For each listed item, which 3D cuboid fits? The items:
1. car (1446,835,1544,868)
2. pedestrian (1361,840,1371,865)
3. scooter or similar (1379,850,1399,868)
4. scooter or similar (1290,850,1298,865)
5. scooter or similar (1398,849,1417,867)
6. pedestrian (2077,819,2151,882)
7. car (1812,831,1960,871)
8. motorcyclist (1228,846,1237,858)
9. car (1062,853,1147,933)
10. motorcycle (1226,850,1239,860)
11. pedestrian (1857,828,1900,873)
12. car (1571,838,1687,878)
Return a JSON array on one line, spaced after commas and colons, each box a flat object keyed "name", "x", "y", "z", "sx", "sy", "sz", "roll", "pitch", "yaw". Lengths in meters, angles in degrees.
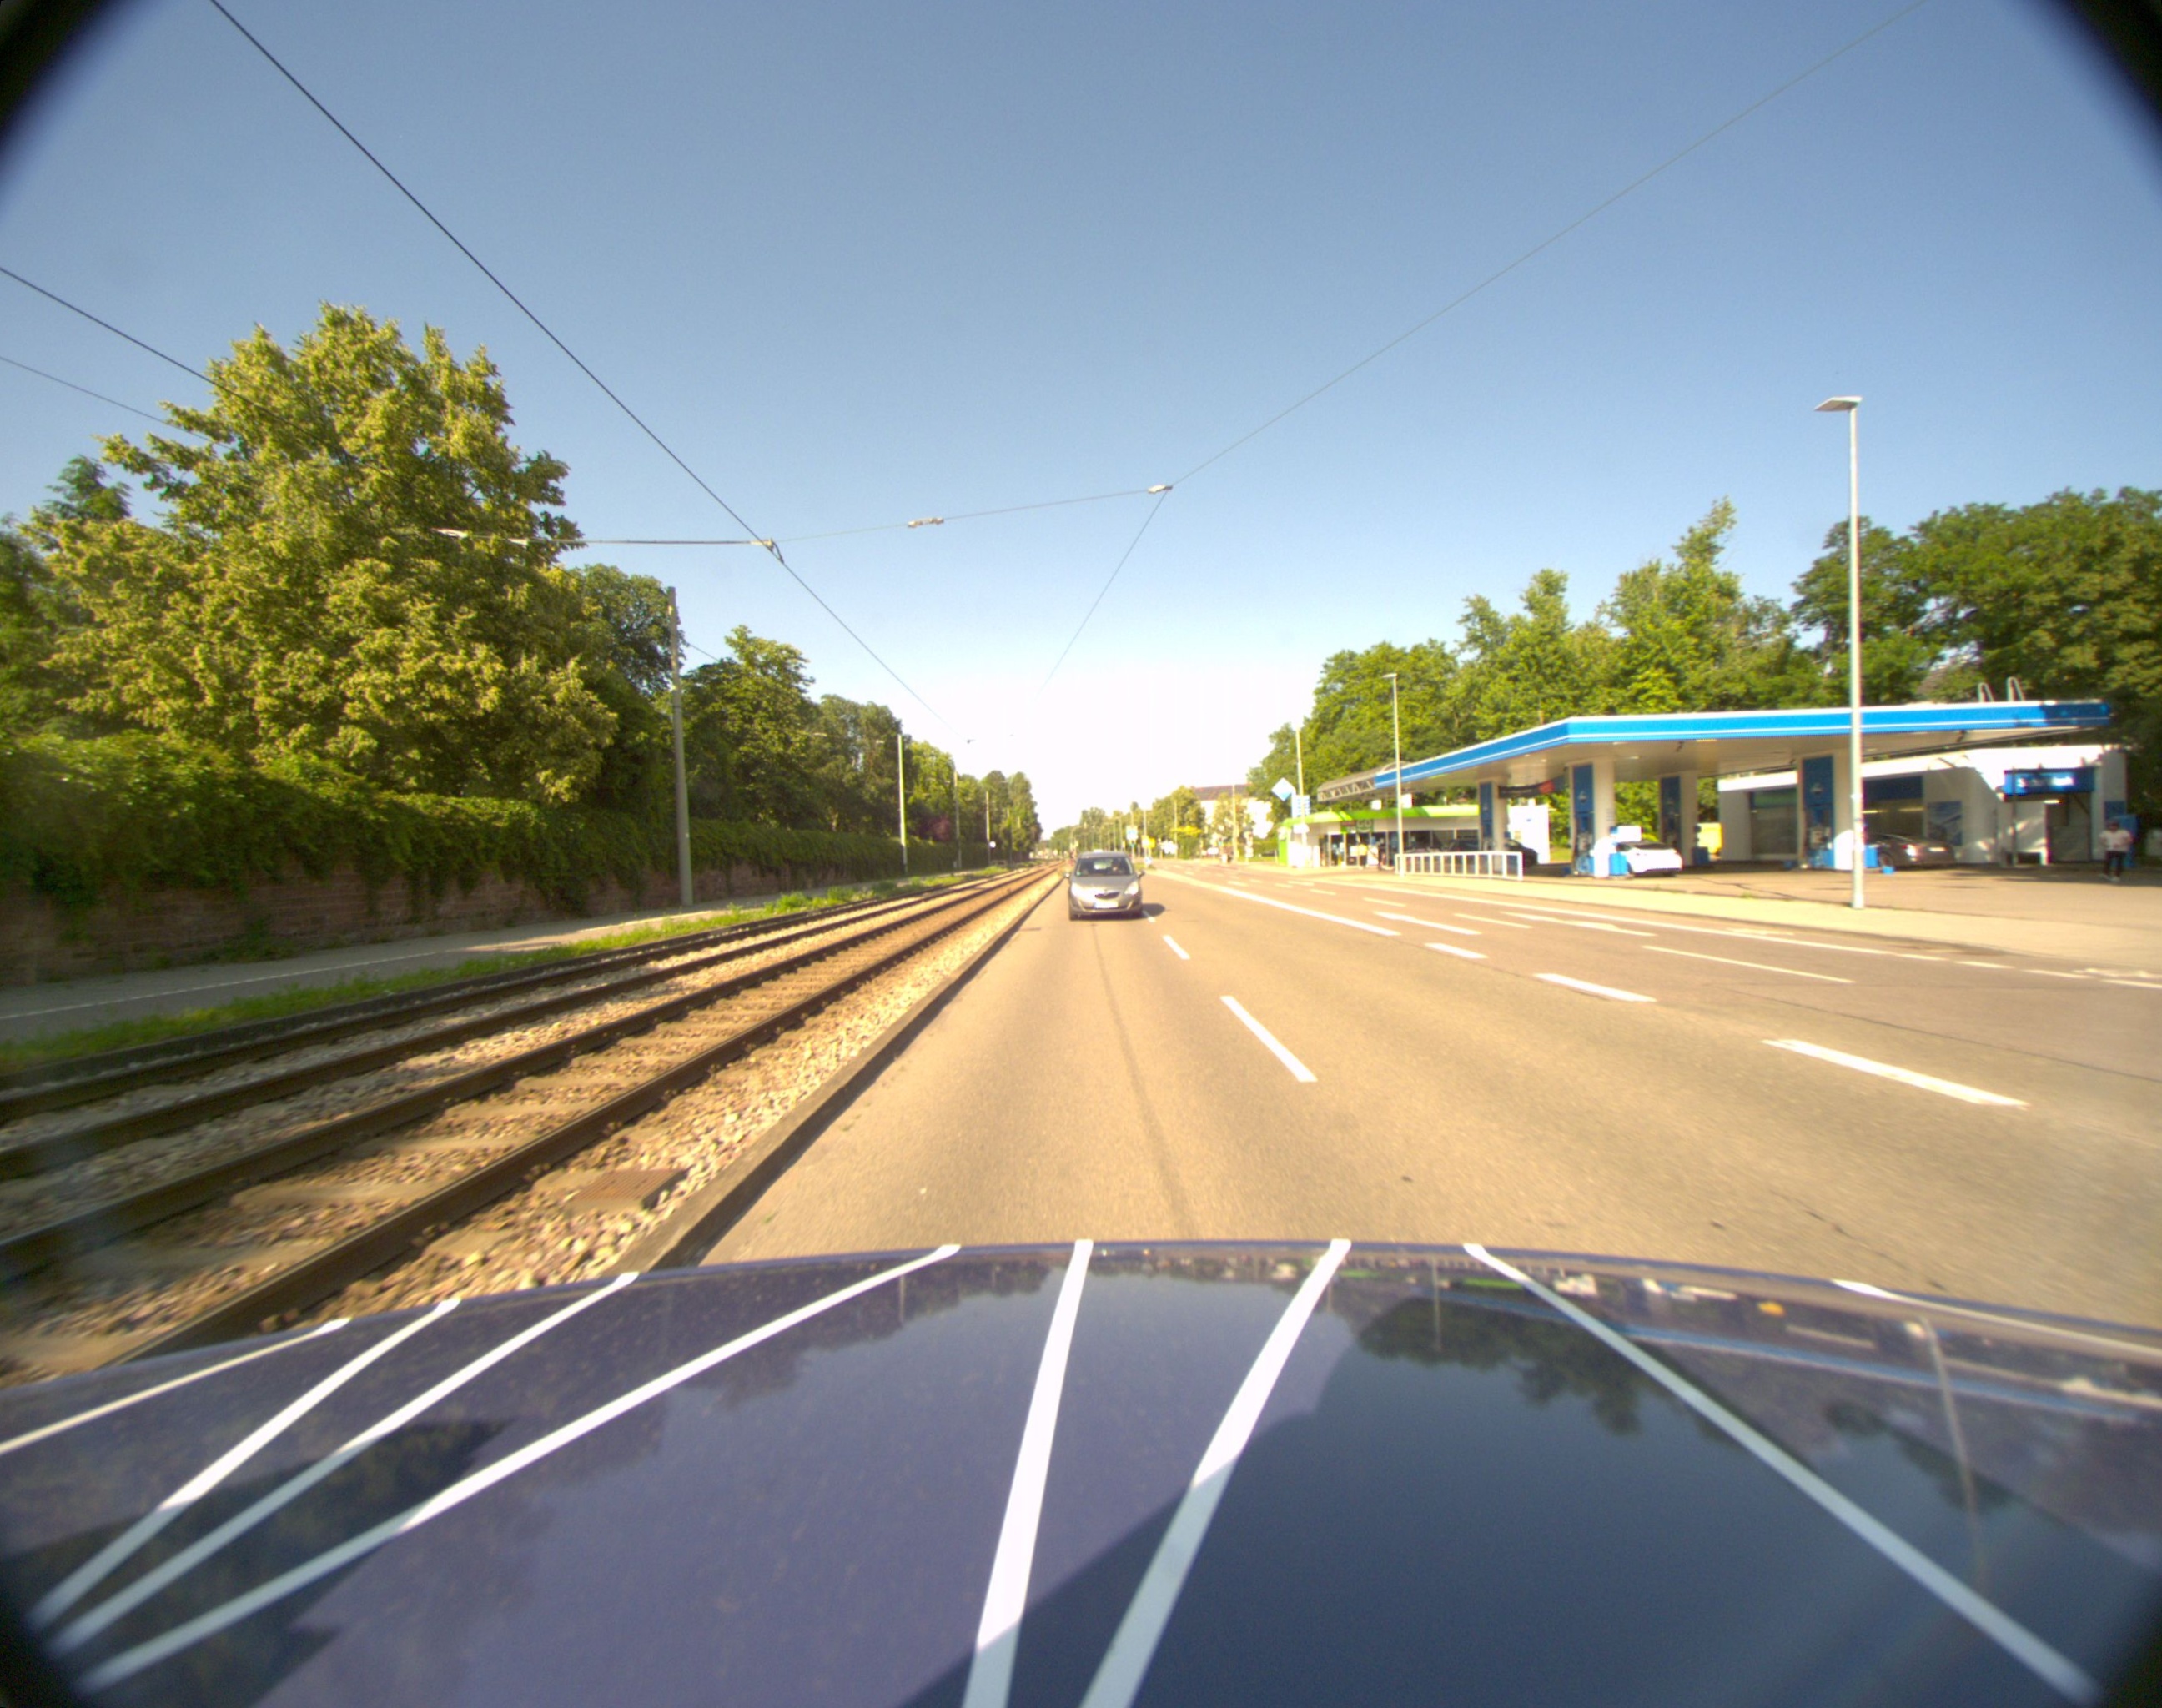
[{"name": "car", "x": 25.993, "y": -0.145, "z": 47.850, "sx": 5.081, "sy": 1.929, "sz": 1.858, "roll": -1, "pitch": 0, "yaw": 5}, {"name": "pedestrian", "x": 19.191, "y": -0.104, "z": 51.184, "sx": 0.603, "sy": 1.721, "sz": 0.663, "roll": -1, "pitch": 1, "yaw": 16}, {"name": "scooter or similar", "x": 19.824, "y": 0.302, "z": 48.894, "sx": 1.143, "sy": 1.110, "sz": 0.350, "roll": -1, "pitch": 1, "yaw": 10}, {"name": "scooter or similar", "x": 16.913, "y": 0.294, "z": 60.343, "sx": 0.350, "sy": 1.154, "sz": 1.144, "roll": -1, "pitch": 0, "yaw": 2}, {"name": "scooter or similar", "x": 20.941, "y": 0.272, "z": 48.784, "sx": 1.031, "sy": 1.103, "sz": 0.350, "roll": -1, "pitch": 1, "yaw": 8}, {"name": "pedestrian", "x": 29.169, "y": -0.096, "z": 21.470, "sx": 1.066, "sy": 1.703, "sz": 0.824, "roll": -2, "pitch": 1, "yaw": -8}, {"name": "car", "x": 31.524, "y": -0.118, "z": 29.928, "sx": 1.740, "sy": 1.437, "sz": 4.001, "roll": -1, "pitch": 0, "yaw": 3}, {"name": "motorcyclist", "x": 18.144, "y": -0.228, "z": 91.094, "sx": 0.732, "sy": 1.380, "sz": 0.866, "roll": -1, "pitch": 1, "yaw": 34}, {"name": "car", "x": 0.516, "y": 0.806, "z": 17.606, "sx": 1.730, "sy": 1.574, "sz": 3.763, "roll": -1, "pitch": 1, "yaw": 1}, {"name": "motorcycle", "x": 18.158, "y": 0.101, "z": 91.103, "sx": 0.732, "sy": 1.221, "sz": 2.268, "roll": -1, "pitch": 1, "yaw": 34}, {"name": "pedestrian", "x": 30.676, "y": -0.140, "z": 29.221, "sx": 0.818, "sy": 1.680, "sz": 0.795, "roll": -1, "pitch": 1, "yaw": 1}, {"name": "car", "x": 22.203, "y": 0.140, "z": 31.009, "sx": 1.741, "sy": 1.482, "sz": 4.275, "roll": -1, "pitch": 0, "yaw": 1}]
